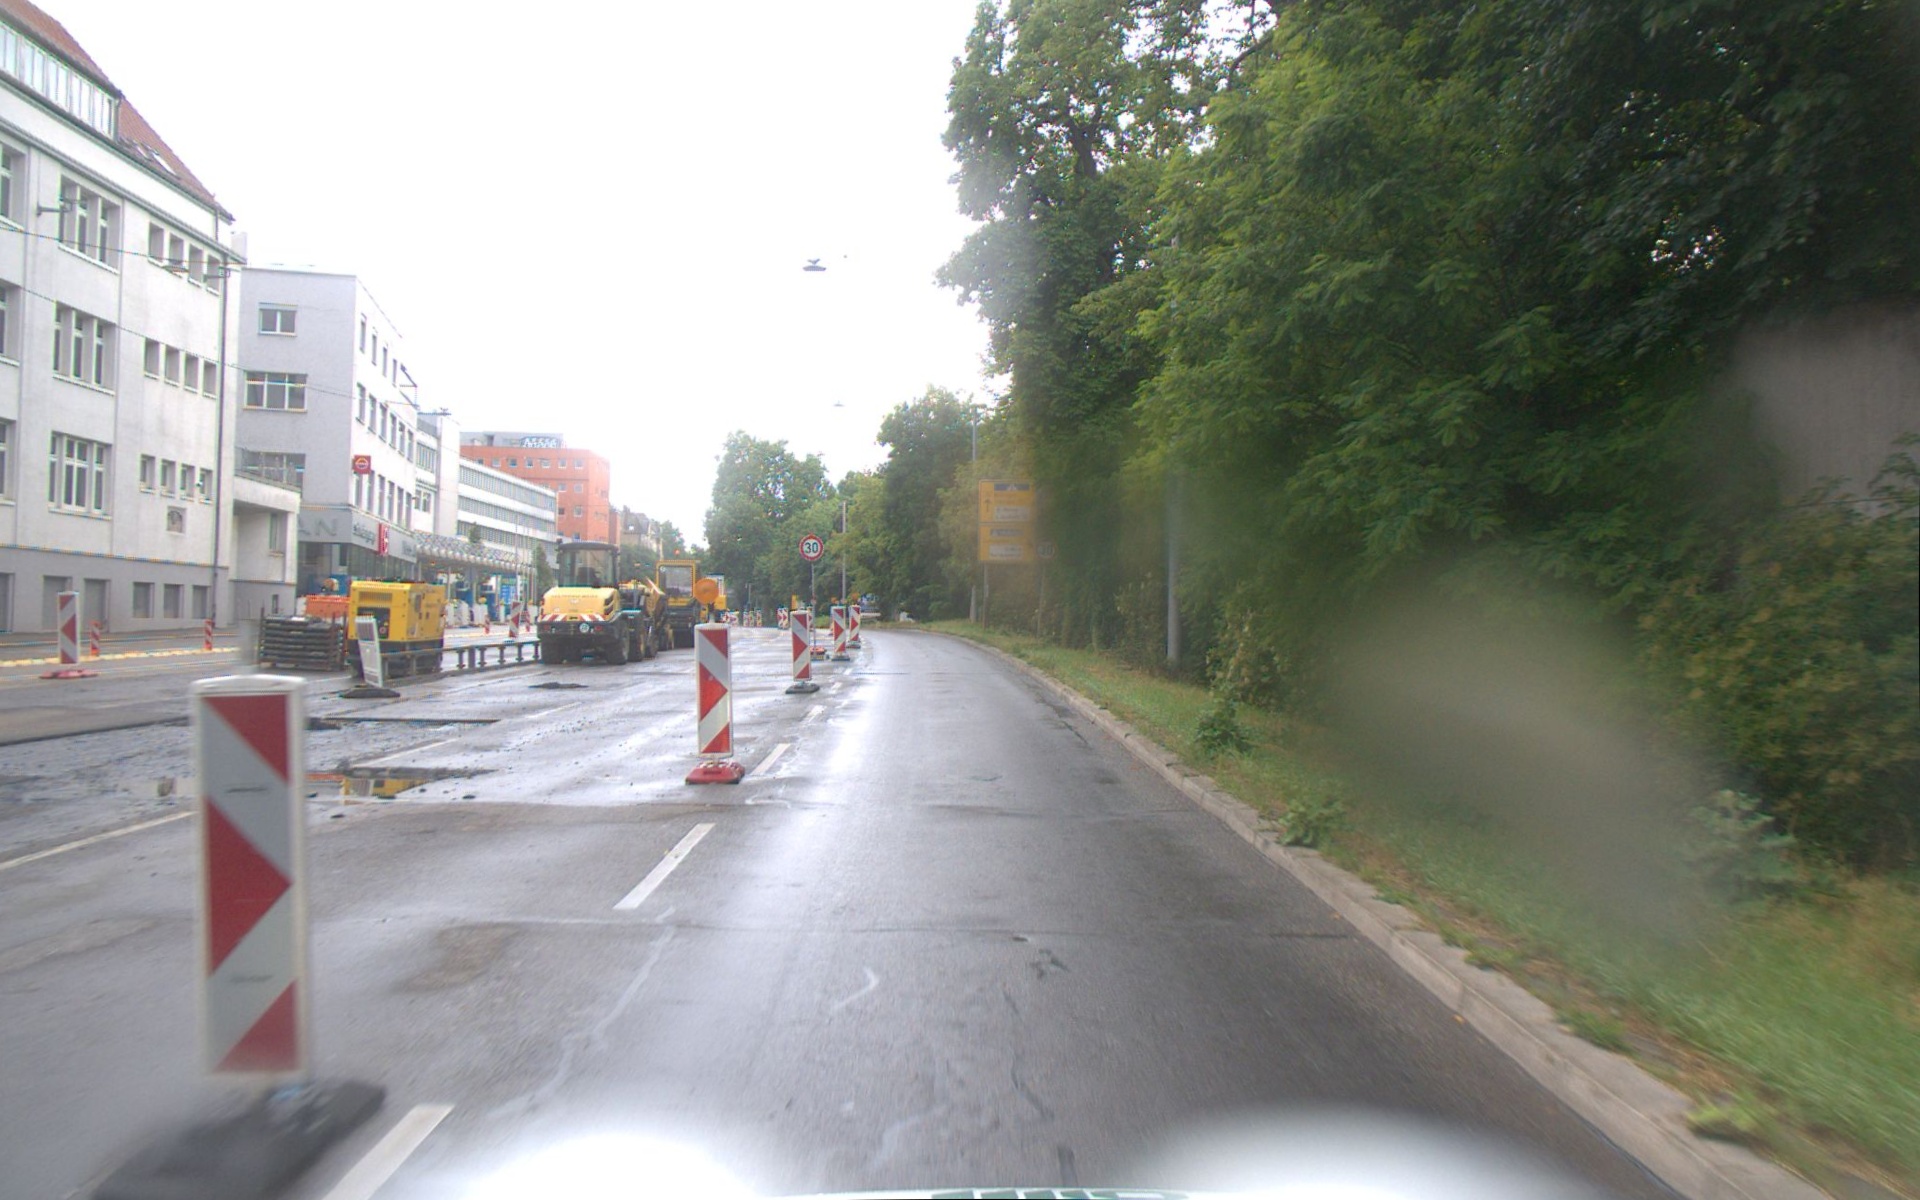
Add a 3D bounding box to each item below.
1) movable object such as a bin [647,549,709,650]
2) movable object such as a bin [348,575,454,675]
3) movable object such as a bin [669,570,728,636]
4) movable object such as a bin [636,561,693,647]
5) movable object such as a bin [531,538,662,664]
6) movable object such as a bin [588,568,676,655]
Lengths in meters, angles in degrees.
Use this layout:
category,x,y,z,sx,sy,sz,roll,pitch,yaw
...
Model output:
category,x,y,z,sx,sy,sz,roll,pitch,yaw
movable object such as a bin,-8.841,-0.012,52.040,1.436,3.061,3.722,-1,0,-2
movable object such as a bin,-9.860,0.427,29.286,1.061,1.673,2.438,1,-1,-2
movable object such as a bin,-8.933,0.095,56.662,1.682,2.187,3.346,-1,0,-4
movable object such as a bin,-8.670,0.118,48.664,1.383,2.443,2.404,-1,0,-4
movable object such as a bin,-8.225,0.033,37.902,1.863,2.655,5.381,1,0,-1
movable object such as a bin,-8.508,0.293,43.210,1.335,2.127,5.028,1,0,-1
